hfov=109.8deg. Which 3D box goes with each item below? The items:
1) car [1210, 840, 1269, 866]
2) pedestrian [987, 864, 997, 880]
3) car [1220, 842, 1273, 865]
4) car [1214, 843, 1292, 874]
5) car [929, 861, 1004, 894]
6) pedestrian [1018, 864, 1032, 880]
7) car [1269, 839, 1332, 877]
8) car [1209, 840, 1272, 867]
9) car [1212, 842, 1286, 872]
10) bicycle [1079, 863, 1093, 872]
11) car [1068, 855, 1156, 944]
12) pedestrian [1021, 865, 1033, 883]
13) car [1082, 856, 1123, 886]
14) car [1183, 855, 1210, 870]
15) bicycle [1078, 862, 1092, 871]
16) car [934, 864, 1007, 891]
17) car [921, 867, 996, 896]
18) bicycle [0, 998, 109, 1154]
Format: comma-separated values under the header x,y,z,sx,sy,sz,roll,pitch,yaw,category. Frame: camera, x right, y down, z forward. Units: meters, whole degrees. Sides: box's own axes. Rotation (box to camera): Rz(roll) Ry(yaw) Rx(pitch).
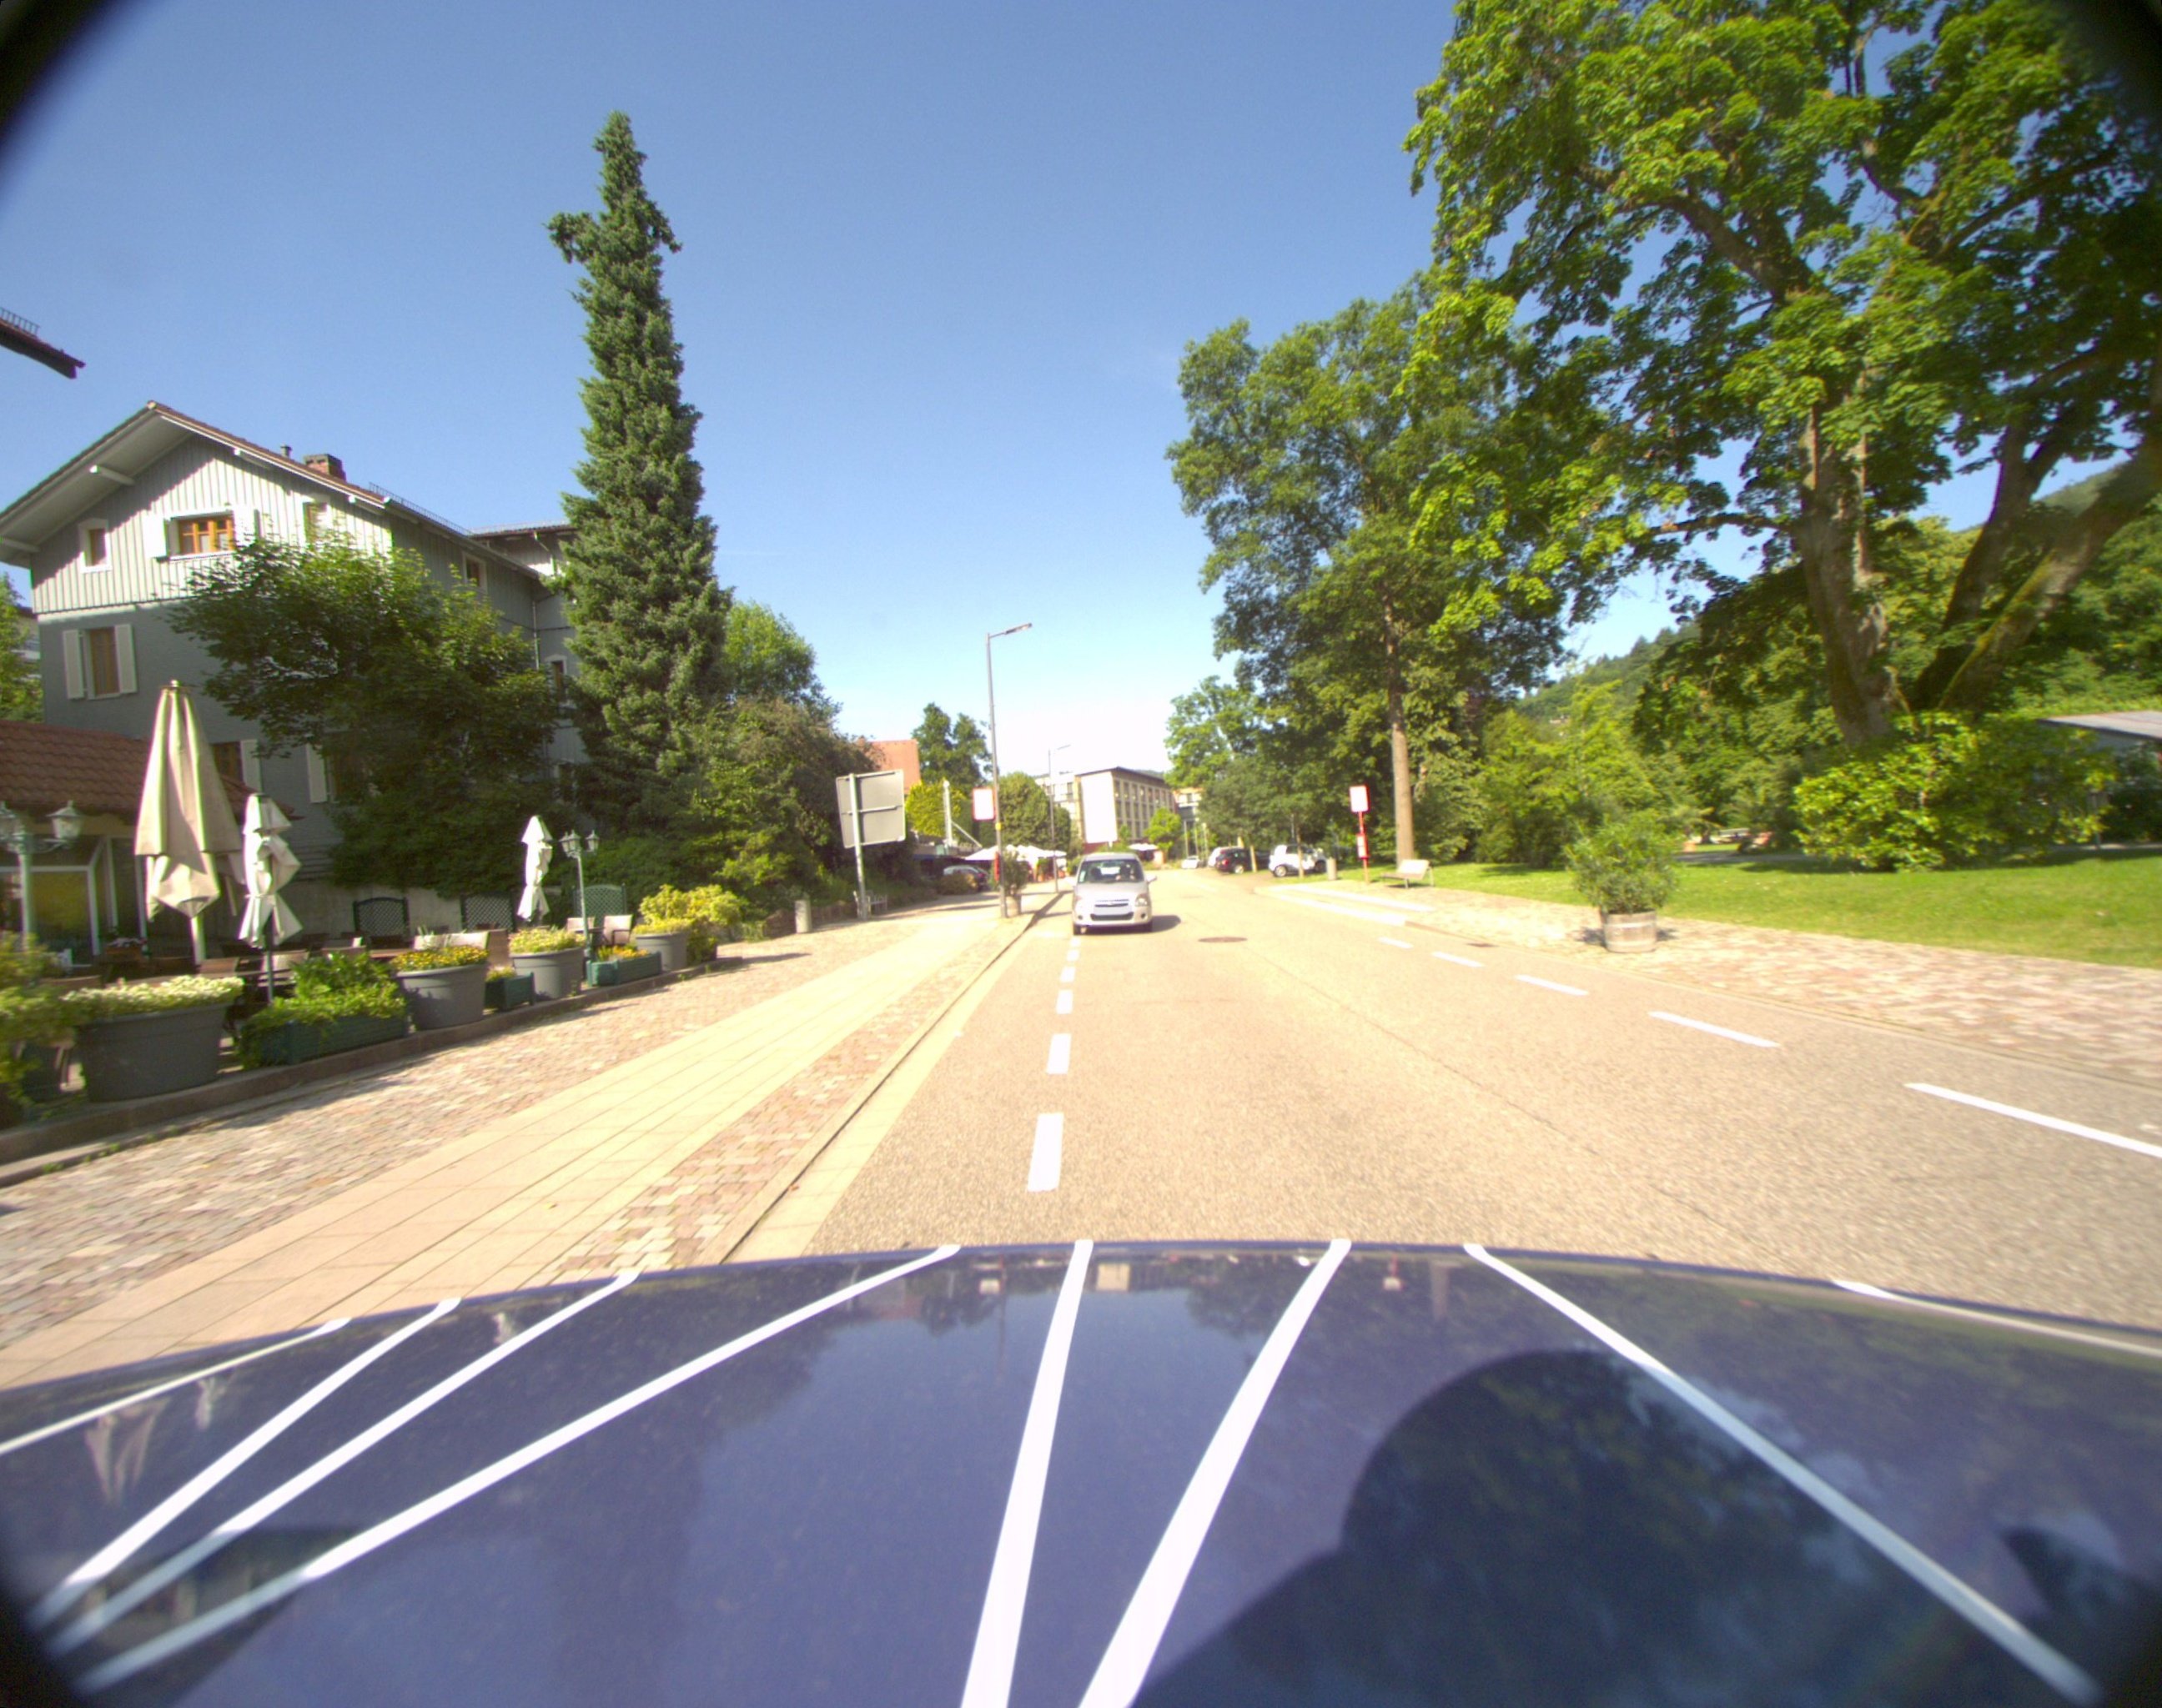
x,y,z,sx,sy,sz,roll,pitch,yaw,category
13.298,-0.090,63.891,4.492,1.654,1.810,-7,1,5,car
-7.476,1.502,63.760,0.639,1.297,0.579,-3,0,-33,pedestrian
13.335,-0.068,61.350,3.995,1.424,1.721,-6,0,9,car
10.581,0.252,46.873,4.287,1.423,1.712,-6,0,-3,car
-6.475,1.318,43.217,3.885,1.571,1.748,-4,0,0,car
-4.521,1.451,61.528,0.810,1.253,0.701,-3,0,22,pedestrian
10.681,0.171,37.155,2.656,1.538,1.683,-6,0,9,car
12.169,-0.044,58.065,4.490,1.409,1.811,-8,0,14,car
11.137,0.200,50.570,4.504,1.501,1.713,-6,0,2,car
0.509,1.431,80.454,1.544,0.977,0.385,-2,0,37,bicycle
0.574,0.868,16.477,1.605,1.628,3.999,-3,0,-1,car
-4.088,1.484,57.010,0.812,1.253,0.700,-3,0,-5,pedestrian
1.279,0.936,43.505,1.739,1.488,3.931,-5,0,9,car
14.067,1.018,92.466,1.652,1.462,4.006,-6,0,31,car
0.375,1.339,79.372,1.544,0.904,0.385,-1,0,37,bicycle
-7.074,1.508,48.909,4.272,1.371,1.709,-4,1,4,car
-7.388,1.655,45.996,4.118,1.407,1.749,-4,0,4,car
-6.875,1.420,4.327,0.397,0.859,1.617,-4,0,8,bicycle
